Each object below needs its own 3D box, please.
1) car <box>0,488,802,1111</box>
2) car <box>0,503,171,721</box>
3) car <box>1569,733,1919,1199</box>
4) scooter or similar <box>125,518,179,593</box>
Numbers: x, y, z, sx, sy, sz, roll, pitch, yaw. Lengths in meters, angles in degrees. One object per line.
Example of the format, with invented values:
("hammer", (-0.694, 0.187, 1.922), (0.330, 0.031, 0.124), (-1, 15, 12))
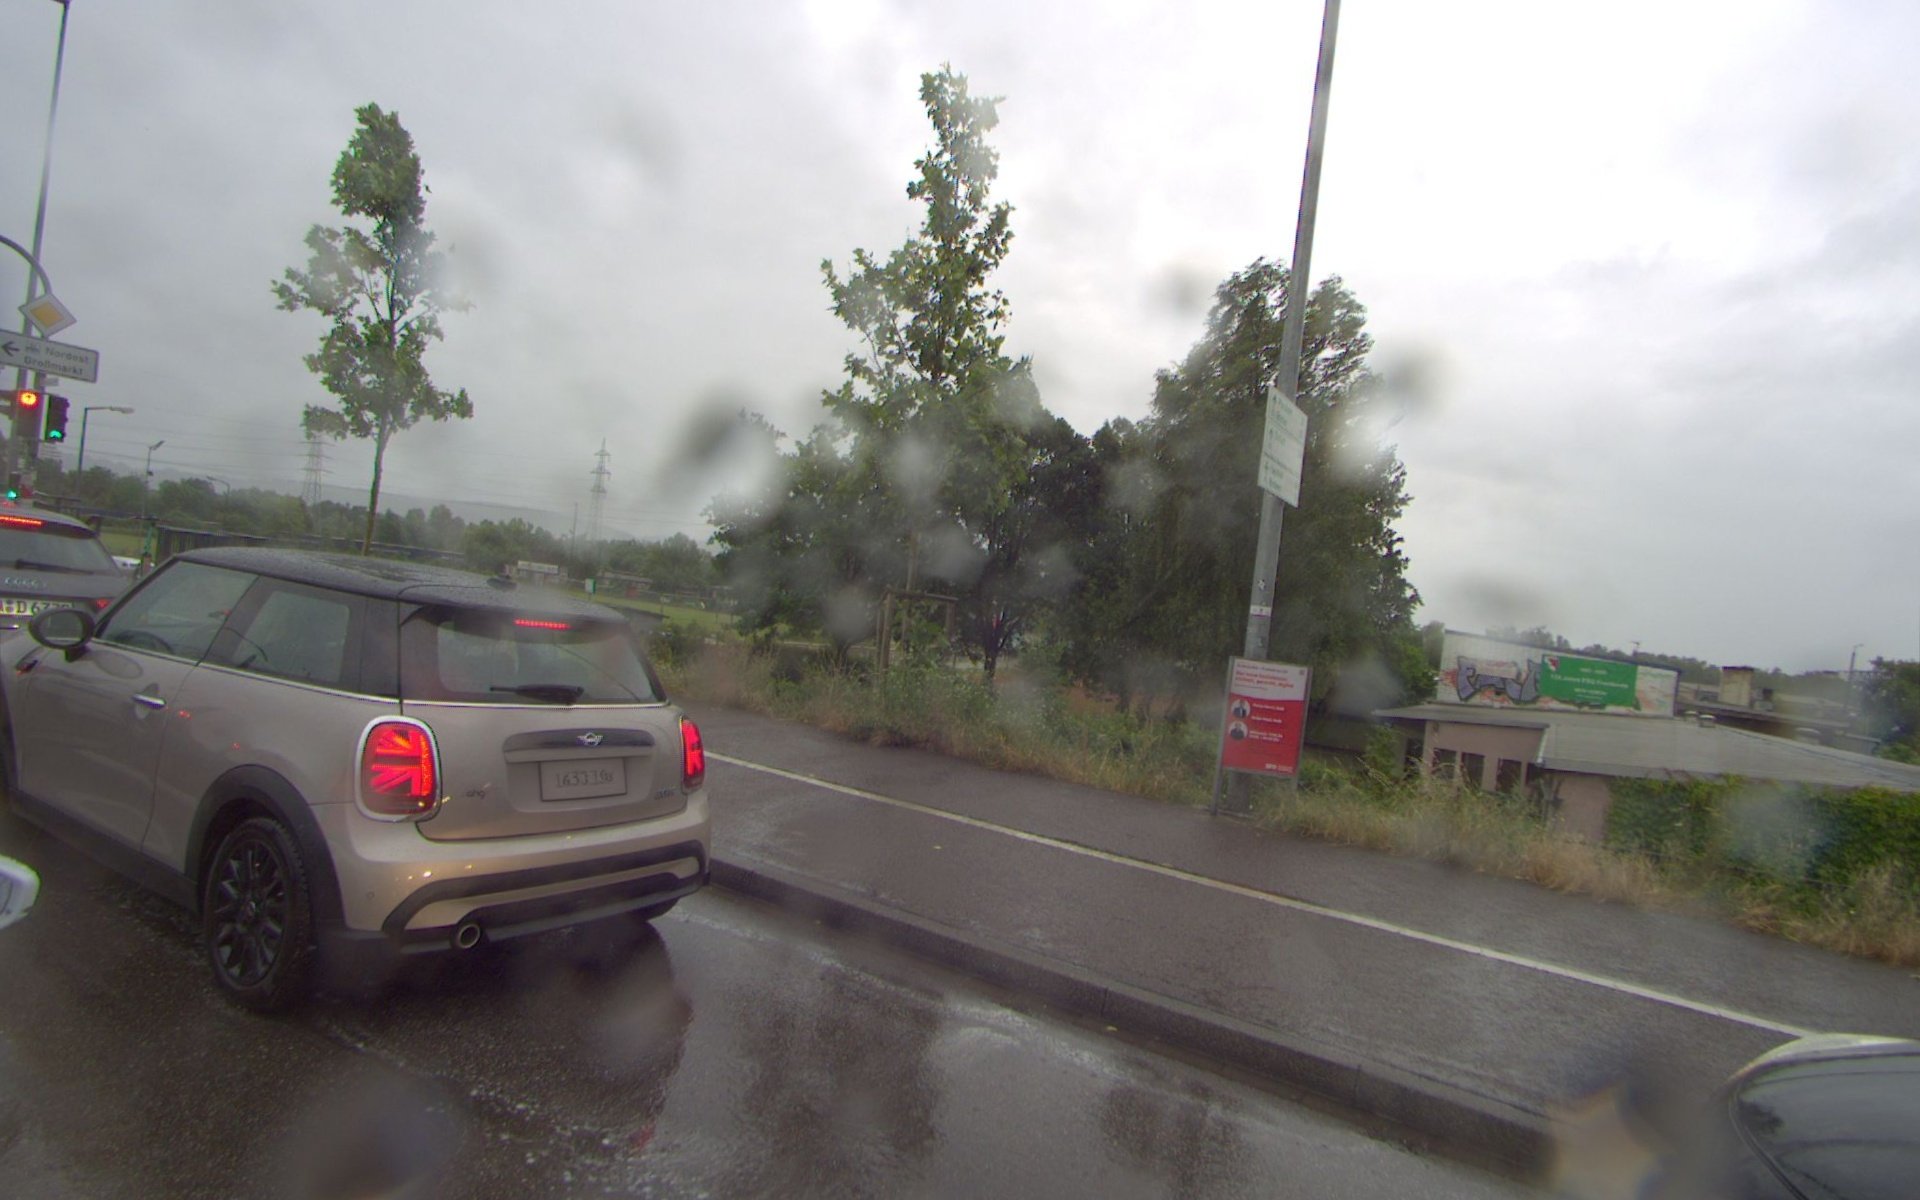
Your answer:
("car", (-2.690, 0.490, 4.302), (3.563, 1.525, 1.717), (7, -2, 31))
("car", (-7.502, -0.086, 7.203), (3.563, 1.360, 1.632), (6, -2, 31))
("car", (2.802, 1.183, 1.054), (3.563, 1.445, 1.632), (7, -1, 31))
("scooter or similar", (-13.685, -0.756, 17.026), (1.167, 1.171, 0.246), (6, -1, 33))
